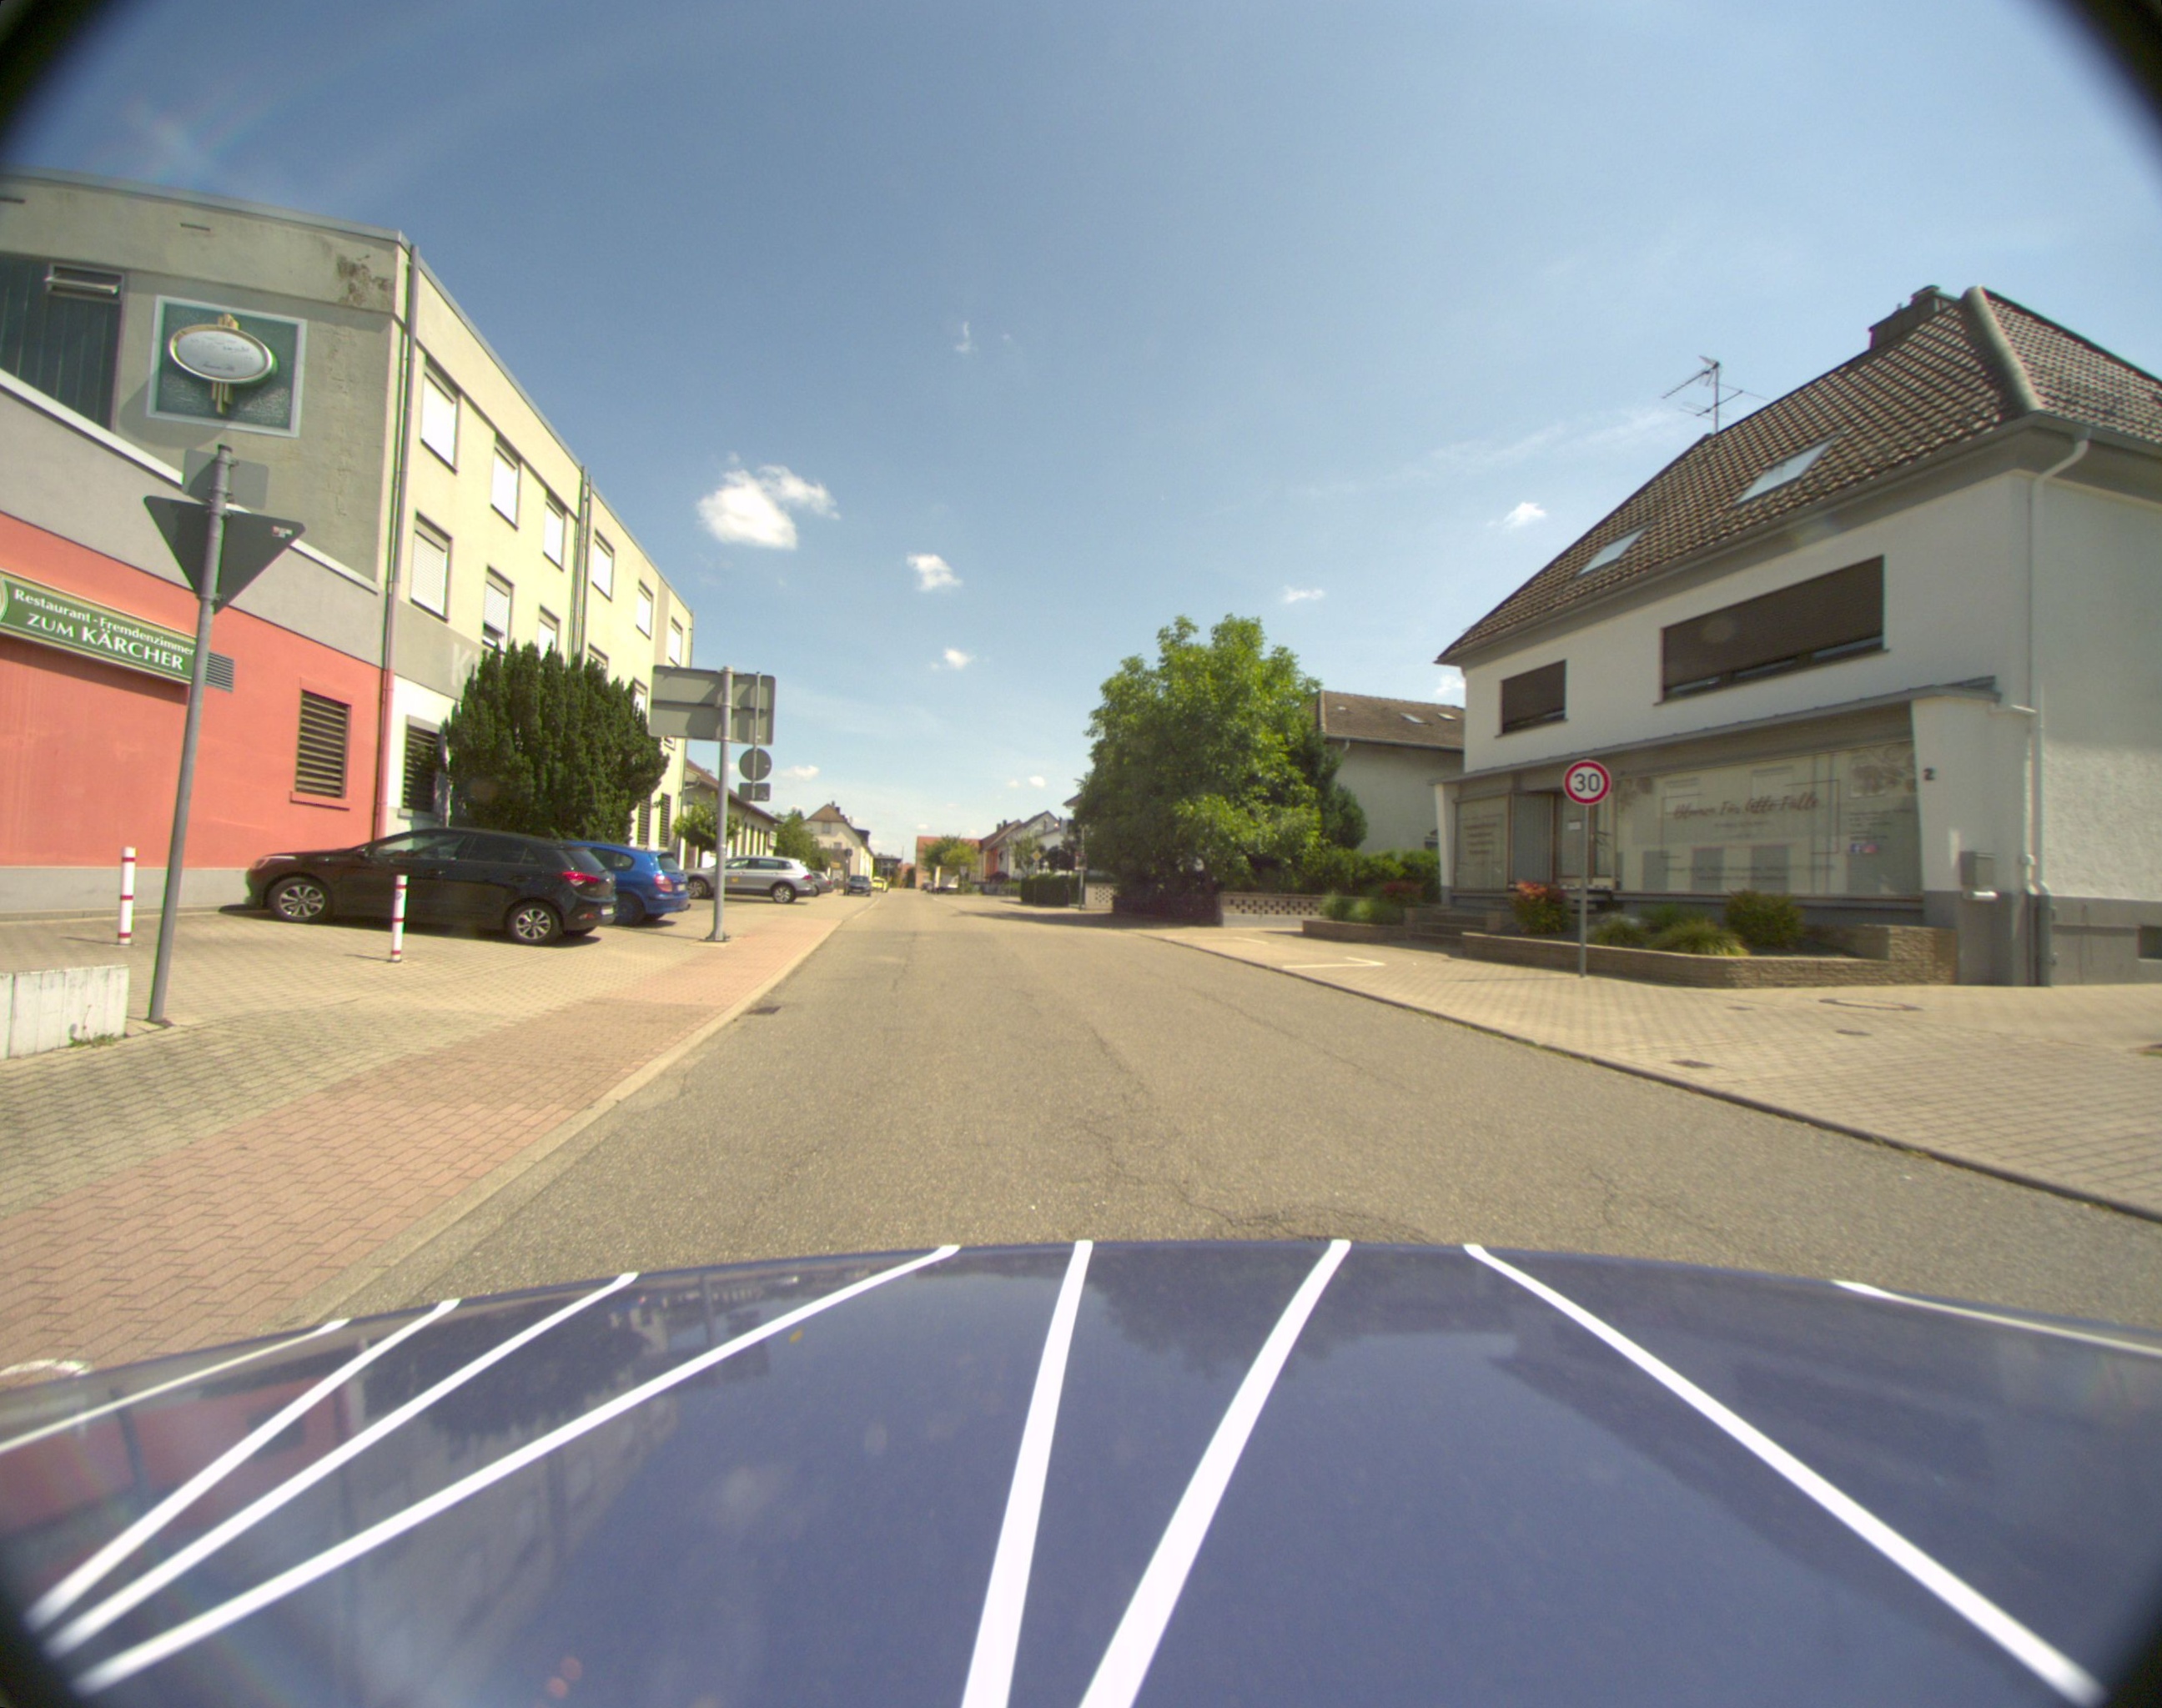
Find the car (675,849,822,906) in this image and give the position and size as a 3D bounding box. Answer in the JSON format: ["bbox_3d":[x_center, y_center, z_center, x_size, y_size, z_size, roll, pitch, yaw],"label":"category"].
[{"bbox_3d":[-11.688,0.853,27.053,4.471,1.686,1.921,4,-3,-15],"label":"car"}]

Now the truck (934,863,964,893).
[{"bbox_3d":[-15.550,2.813,88.920,2.448,3.225,7.029,6,-3,-15],"label":"truck"}]

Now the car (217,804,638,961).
[{"bbox_3d":[-8.758,0.422,10.639,3.911,1.481,1.807,9,-2,-15],"label":"car"}]

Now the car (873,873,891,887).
[{"bbox_3d":[-21.534,2.831,82.365,1.723,1.389,4.211,6,-3,-13],"label":"car"}]

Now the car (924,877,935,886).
[{"bbox_3d":[-27.551,5.071,138.048,1.723,1.490,4.211,5,-3,-14],"label":"car"}]

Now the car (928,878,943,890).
[{"bbox_3d":[-20.764,4.316,108.627,1.723,1.490,4.211,5,-3,-14],"label":"car"}]

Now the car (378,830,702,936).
[{"bbox_3d":[-9.536,0.517,13.808,4.340,1.431,1.777,6,0,-14],"label":"car"}]

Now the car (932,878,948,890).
[{"bbox_3d":[-18.949,4.059,102.293,1.723,1.490,4.211,5,-3,-14],"label":"car"}]

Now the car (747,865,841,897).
[{"bbox_3d":[-15.771,1.485,42.037,4.544,1.445,1.916,4,-3,-13],"label":"car"}]

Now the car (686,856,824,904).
[{"bbox_3d":[-12.385,1.007,29.219,4.518,1.510,1.998,4,-3,-14],"label":"car"}]

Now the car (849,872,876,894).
[{"bbox_3d":[-15.297,2.029,53.294,1.634,1.479,4.135,3,-3,-15],"label":"car"}]
